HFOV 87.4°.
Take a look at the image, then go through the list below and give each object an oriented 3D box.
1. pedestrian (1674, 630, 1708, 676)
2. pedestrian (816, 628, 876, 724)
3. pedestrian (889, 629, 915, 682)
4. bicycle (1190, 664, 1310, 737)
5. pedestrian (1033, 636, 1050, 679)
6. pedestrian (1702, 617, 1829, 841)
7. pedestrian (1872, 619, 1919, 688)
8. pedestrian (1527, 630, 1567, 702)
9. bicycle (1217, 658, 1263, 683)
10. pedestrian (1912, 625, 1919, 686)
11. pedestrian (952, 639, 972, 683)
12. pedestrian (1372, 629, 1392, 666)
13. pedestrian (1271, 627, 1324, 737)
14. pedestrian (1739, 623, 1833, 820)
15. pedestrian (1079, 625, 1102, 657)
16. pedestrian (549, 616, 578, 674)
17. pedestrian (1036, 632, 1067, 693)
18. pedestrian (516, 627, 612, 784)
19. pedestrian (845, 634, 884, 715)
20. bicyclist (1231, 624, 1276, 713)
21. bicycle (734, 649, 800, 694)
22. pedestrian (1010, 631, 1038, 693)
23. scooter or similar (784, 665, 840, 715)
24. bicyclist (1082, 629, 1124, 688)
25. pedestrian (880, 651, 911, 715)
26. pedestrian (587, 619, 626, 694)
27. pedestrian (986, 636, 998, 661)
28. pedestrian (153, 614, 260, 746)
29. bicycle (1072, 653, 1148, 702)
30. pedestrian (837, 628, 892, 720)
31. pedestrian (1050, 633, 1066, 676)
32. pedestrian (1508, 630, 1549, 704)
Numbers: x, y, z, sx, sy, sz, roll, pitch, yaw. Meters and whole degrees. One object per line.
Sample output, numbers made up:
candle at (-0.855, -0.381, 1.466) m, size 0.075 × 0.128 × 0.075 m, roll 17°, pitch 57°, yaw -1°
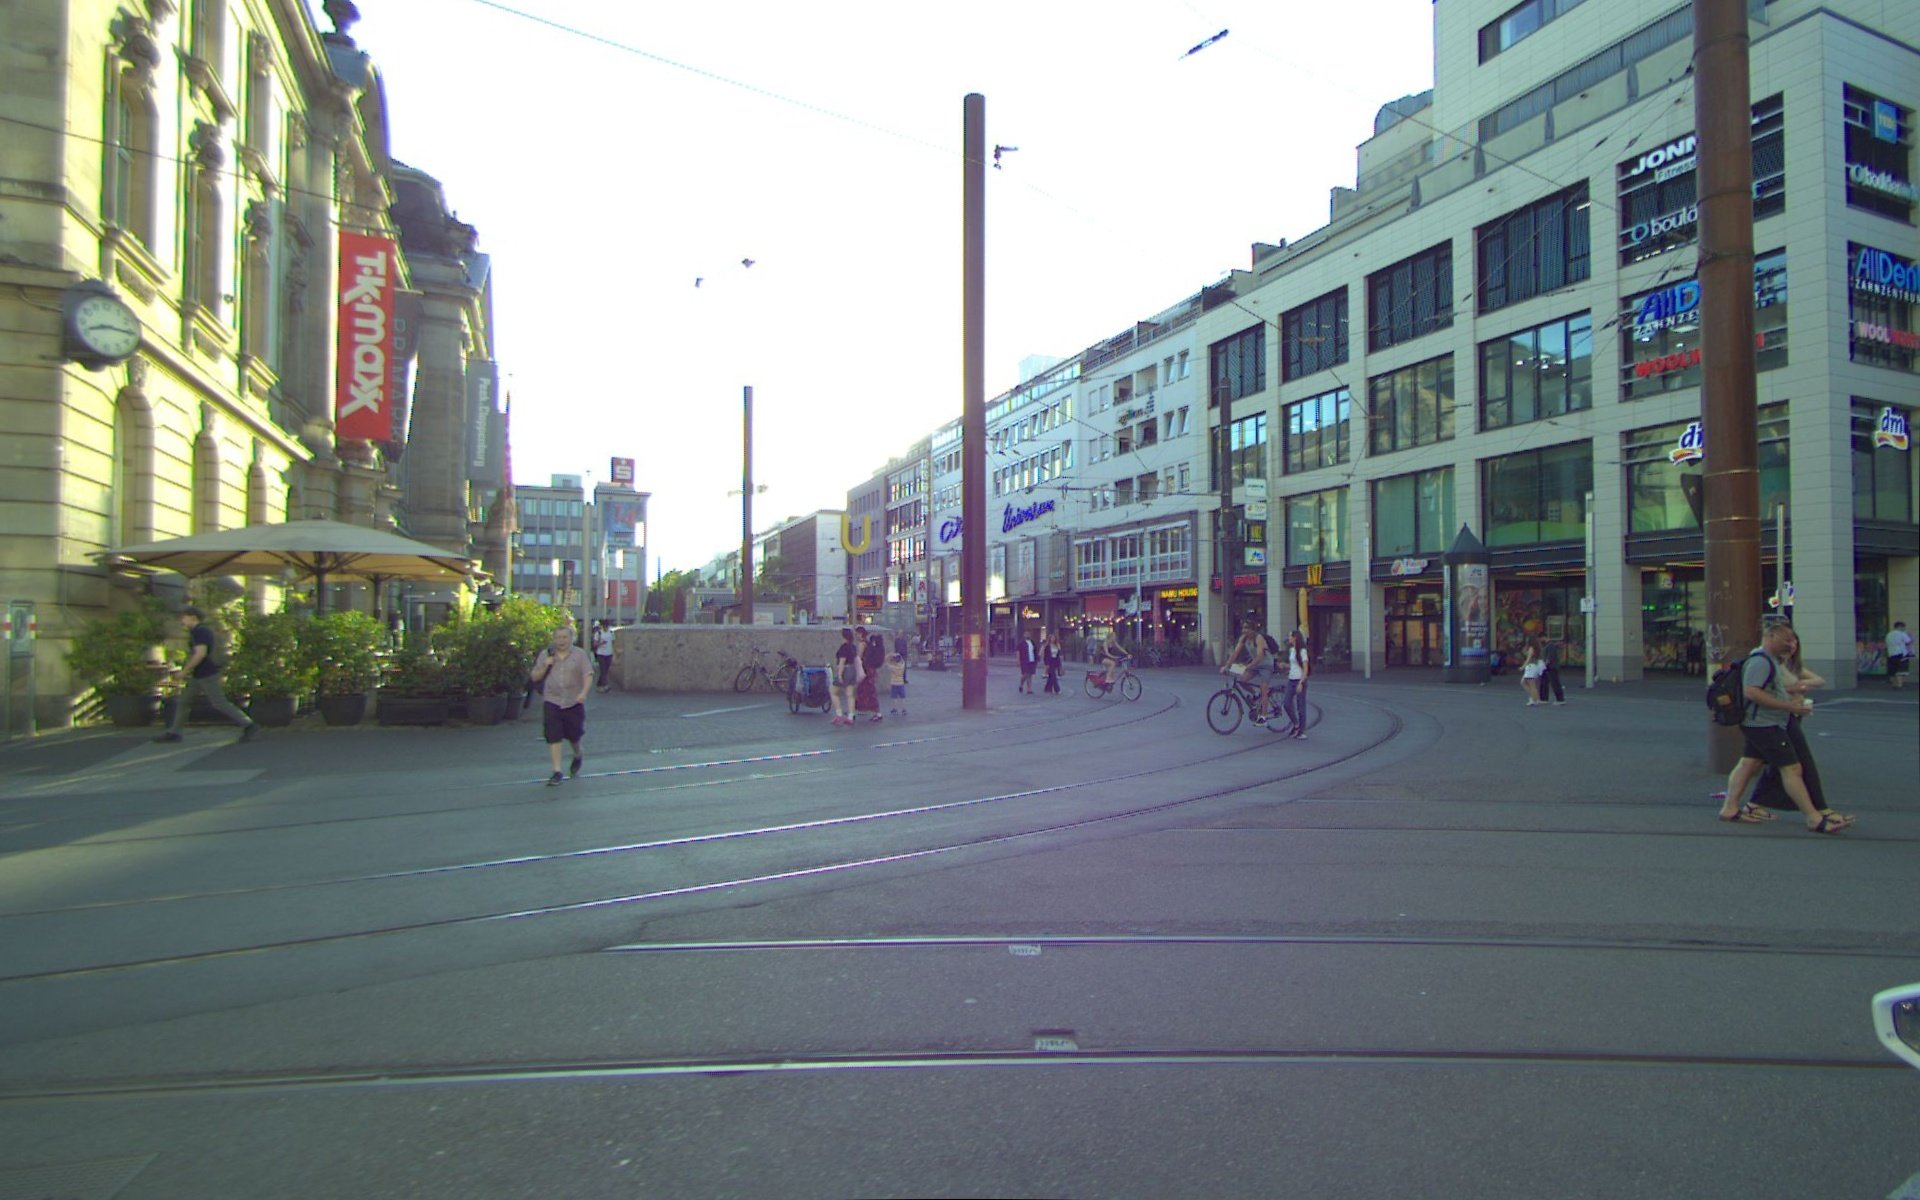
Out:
pedestrian at (25.215, 1.827, 34.633) m, size 0.777 × 1.546 × 0.573 m, roll 1°, pitch -1°, yaw -12°
pedestrian at (-2.003, 1.324, 17.690) m, size 0.812 × 1.635 × 0.690 m, roll -2°, pitch -2°, yaw 41°
pedestrian at (-1.883, 1.786, 32.457) m, size 0.641 × 1.696 × 0.712 m, roll 1°, pitch -2°, yaw -22°
bicycle at (4.787, 1.631, 16.540) m, size 1.994 × 1.112 × 0.571 m, roll 1°, pitch -1°, yaw -25°
pedestrian at (3.220, 2.258, 39.670) m, size 0.573 × 1.658 × 0.686 m, roll 0°, pitch -2°, yaw 11°
pedestrian at (6.612, 1.015, 8.251) m, size 0.736 × 1.722 × 0.606 m, roll -2°, pitch -3°, yaw 45°
pedestrian at (25.734, 1.465, 27.632) m, size 0.802 × 1.879 × 0.573 m, roll 1°, pitch -1°, yaw -12°
pedestrian at (14.127, 1.580, 24.165) m, size 0.641 × 1.696 × 0.527 m, roll 1°, pitch -2°, yaw -23°
bicycle at (12.151, 3.059, 43.680) m, size 1.887 × 0.999 × 0.451 m, roll 1°, pitch -1°, yaw 12°
pedestrian at (27.066, 1.536, 27.771) m, size 0.801 × 1.681 × 0.767 m, roll 1°, pitch -1°, yaw -10°
pedestrian at (0.066, 2.377, 39.271) m, size 0.641 × 1.696 × 0.527 m, roll 1°, pitch -2°, yaw -23°
pedestrian at (19.909, 2.249, 47.361) m, size 0.566 × 1.702 × 0.672 m, roll 1°, pitch -1°, yaw -22°
pedestrian at (5.302, 1.272, 15.799) m, size 0.521 × 1.696 × 0.649 m, roll 0°, pitch -2°, yaw -15°
pedestrian at (7.072, 1.006, 8.603) m, size 0.563 × 1.614 × 0.445 m, roll -2°, pitch -3°, yaw 45°
pedestrian at (6.963, 2.195, 53.738) m, size 0.887 × 1.658 × 0.948 m, roll 1°, pitch -2°, yaw -20°
pedestrian at (-11.935, 1.358, 30.235) m, size 0.712 × 1.728 × 0.495 m, roll 2°, pitch -1°, yaw -30°
pedestrian at (2.550, 1.736, 28.048) m, size 0.742 × 1.696 × 0.528 m, roll 1°, pitch -2°, yaw -17°
pedestrian at (-4.384, 1.120, 11.105) m, size 0.796 × 1.650 × 0.826 m, roll 1°, pitch -2°, yaw -37°
pedestrian at (-1.906, 1.484, 20.156) m, size 0.472 × 1.594 × 0.648 m, roll -1°, pitch -2°, yaw 36°
bicyclist at (4.836, 1.120, 16.561) m, size 0.556 × 1.446 × 0.419 m, roll 1°, pitch -1°, yaw -23°
bicycle at (-4.833, 1.788, 25.174) m, size 1.557 × 1.100 × 0.448 m, roll 1°, pitch -1°, yaw -22°
pedestrian at (1.767, 1.718, 27.809) m, size 0.640 × 1.696 × 0.528 m, roll 1°, pitch -2°, yaw -17°
scooter or similar at (-2.961, 1.779, 19.981) m, size 0.877 × 0.916 × 1.091 m, roll 1°, pitch -2°, yaw -22°
bicyclist at (3.679, 1.491, 25.849) m, size 0.595 × 1.484 × 0.862 m, roll 2°, pitch -1°, yaw -44°
pedestrian at (-1.290, 1.647, 20.089) m, size 0.405 × 1.259 × 0.484 m, roll -1°, pitch -2°, yaw 30°
pedestrian at (-8.334, 1.325, 23.684) m, size 0.715 × 1.728 × 0.493 m, roll 2°, pitch -1°, yaw -41°
pedestrian at (2.180, 3.280, 68.283) m, size 0.675 × 1.658 × 0.582 m, roll 1°, pitch -2°, yaw -22°
pedestrian at (-9.756, 1.009, 13.042) m, size 0.959 × 1.650 × 0.687 m, roll 1°, pitch -1°, yaw -25°
bicycle at (3.810, 1.955, 25.673) m, size 0.696 × 1.130 × 1.894 m, roll 2°, pitch -2°, yaw -43°
pedestrian at (-1.750, 1.345, 18.430) m, size 0.761 × 1.635 × 0.664 m, roll -2°, pitch -2°, yaw 41°
pedestrian at (3.861, 2.124, 39.417) m, size 0.573 × 1.658 × 0.686 m, roll 0°, pitch -2°, yaw 11°
pedestrian at (13.257, 1.554, 23.434) m, size 0.641 × 1.696 × 0.527 m, roll 1°, pitch -2°, yaw -23°
